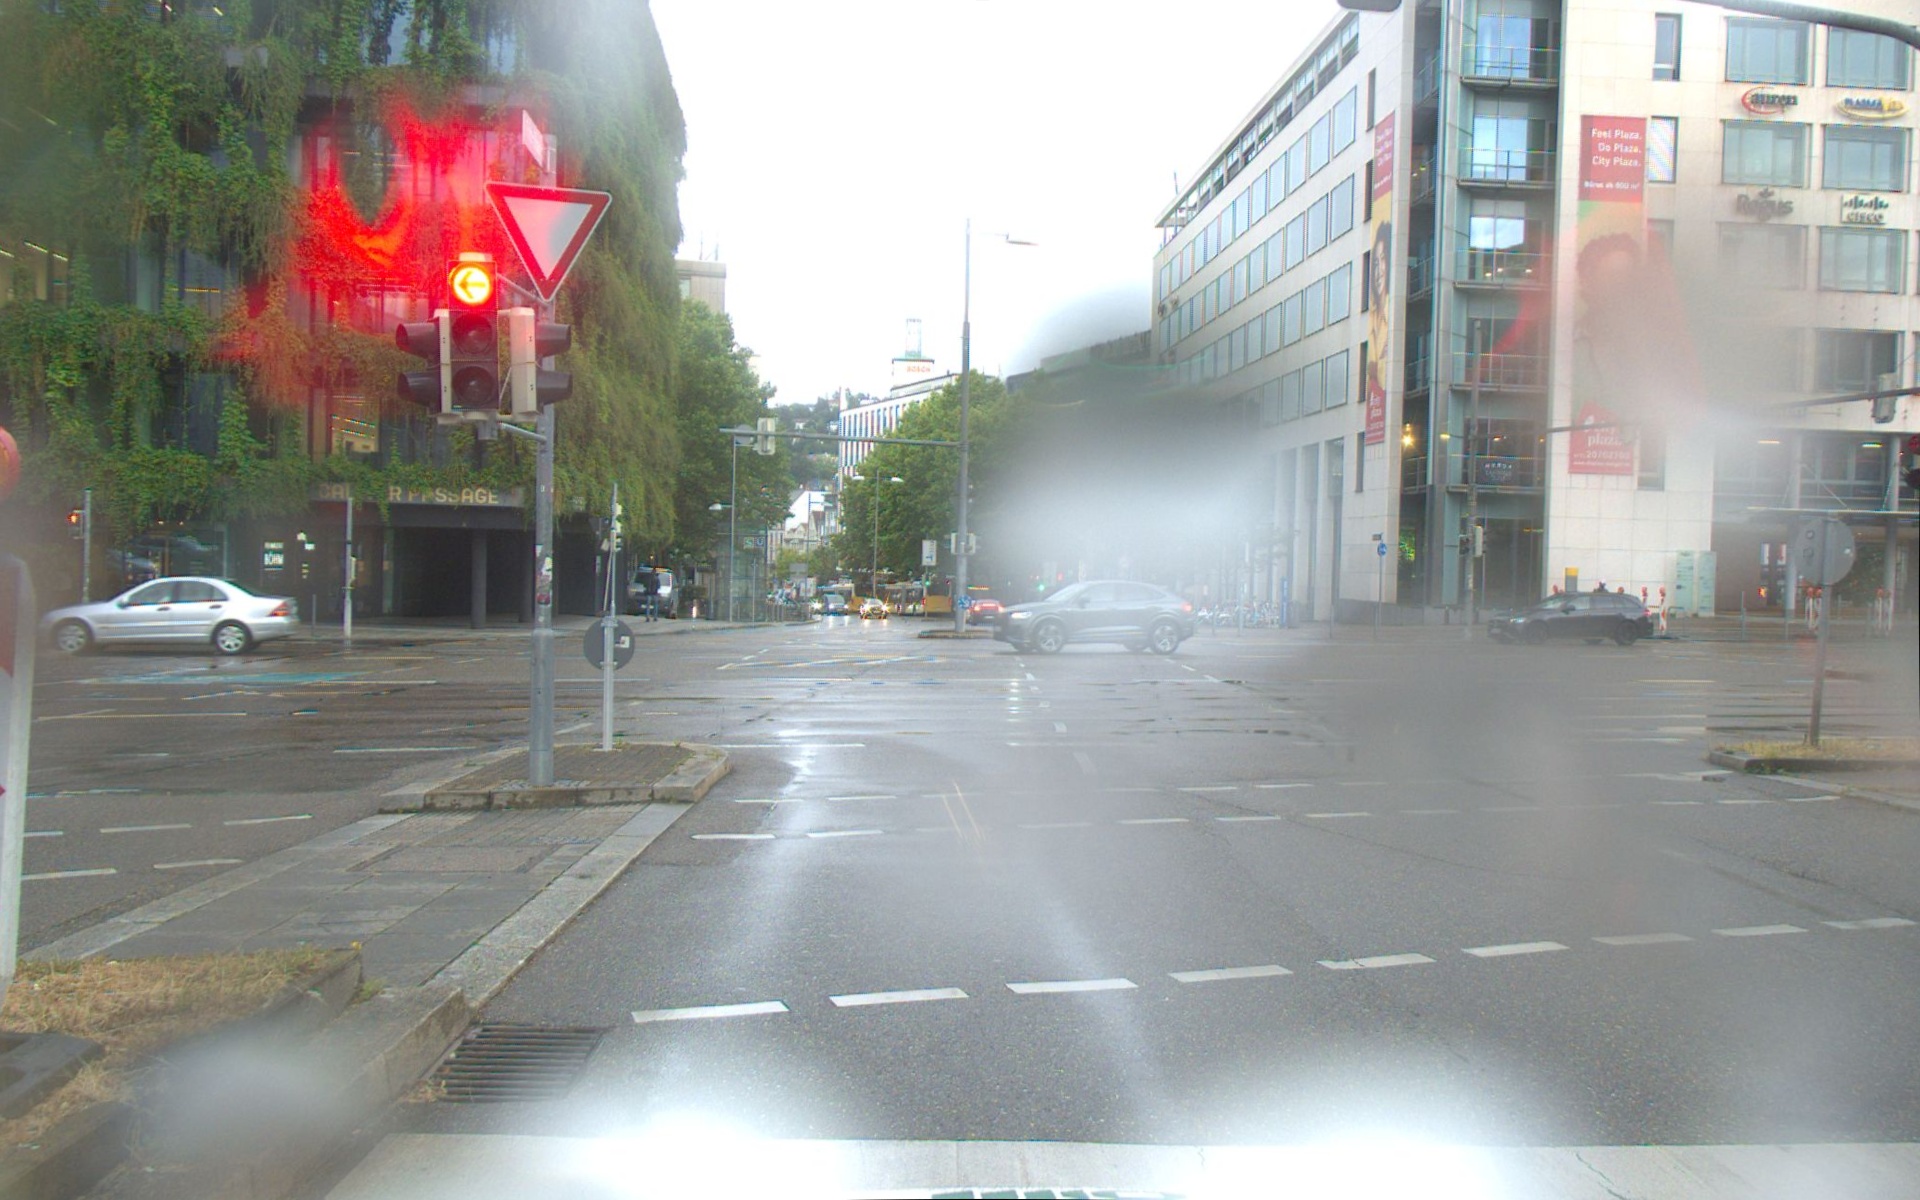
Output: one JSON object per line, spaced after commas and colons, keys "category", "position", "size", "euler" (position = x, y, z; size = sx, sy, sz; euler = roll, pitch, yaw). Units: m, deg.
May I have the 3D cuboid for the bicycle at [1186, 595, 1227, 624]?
{"category": "bicycle", "position": [10.864, 0.422, 72.923], "size": [1.741, 1.215, 0.586], "euler": [1, -1, 1]}

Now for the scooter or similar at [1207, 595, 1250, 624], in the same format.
{"category": "scooter or similar", "position": [11.549, 0.426, 71.142], "size": [1.741, 1.215, 0.586], "euler": [1, -1, 1]}

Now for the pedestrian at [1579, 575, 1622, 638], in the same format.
{"category": "pedestrian", "position": [19.313, 0.198, 49.890], "size": [0.942, 1.848, 0.836], "euler": [1, -1, -1]}

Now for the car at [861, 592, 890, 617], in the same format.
{"category": "car", "position": [-6.505, 0.351, 126.453], "size": [2.121, 1.796, 5.108], "euler": [1, 0, -4]}

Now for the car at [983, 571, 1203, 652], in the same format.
{"category": "car", "position": [2.867, 0.259, 35.845], "size": [4.402, 1.637, 1.823], "euler": [1, 0, -17]}

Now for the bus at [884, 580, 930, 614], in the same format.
{"category": "bus", "position": [-4.968, -0.285, 153.006], "size": [2.585, 3.048, 7.417], "euler": [0, 0, -16]}

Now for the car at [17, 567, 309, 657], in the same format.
{"category": "car", "position": [-14.876, 0.220, 31.160], "size": [4.641, 1.502, 1.993], "euler": [0, 4, -16]}

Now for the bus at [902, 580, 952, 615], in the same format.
{"category": "bus", "position": [-2.972, -0.249, 145.890], "size": [2.585, 3.048, 7.417], "euler": [0, 0, -16]}

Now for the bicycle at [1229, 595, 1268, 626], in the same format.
{"category": "bicycle", "position": [11.587, 0.408, 66.556], "size": [0.578, 1.215, 1.766], "euler": [1, 0, -28]}

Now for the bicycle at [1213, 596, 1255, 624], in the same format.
{"category": "bicycle", "position": [11.894, 0.435, 71.770], "size": [1.741, 1.215, 0.586], "euler": [1, -1, 1]}

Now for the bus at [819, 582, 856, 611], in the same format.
{"category": "bus", "position": [-13.343, -0.368, 180.121], "size": [2.585, 3.048, 7.417], "euler": [0, 0, -16]}

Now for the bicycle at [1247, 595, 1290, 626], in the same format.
{"category": "bicycle", "position": [12.124, 0.410, 65.012], "size": [1.590, 1.215, 0.586], "euler": [1, -1, 25]}

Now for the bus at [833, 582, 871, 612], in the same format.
{"category": "bus", "position": [-11.346, -0.314, 173.055], "size": [2.585, 3.048, 7.296], "euler": [0, 0, -16]}

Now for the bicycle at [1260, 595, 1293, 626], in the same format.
{"category": "bicycle", "position": [12.862, 0.432, 67.133], "size": [0.575, 1.215, 1.776], "euler": [1, -1, 37]}

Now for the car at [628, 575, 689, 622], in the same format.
{"category": "car", "position": [-12.387, -0.050, 68.131], "size": [1.832, 1.871, 3.999], "euler": [1, 0, -1]}

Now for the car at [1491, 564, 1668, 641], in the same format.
{"category": "car", "position": [17.374, 0.070, 46.424], "size": [4.573, 2.049, 1.544], "euler": [1, 0, -13]}

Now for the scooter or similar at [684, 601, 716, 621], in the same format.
{"category": "scooter or similar", "position": [-12.933, 0.541, 82.331], "size": [0.612, 1.022, 1.653], "euler": [1, 0, 37]}

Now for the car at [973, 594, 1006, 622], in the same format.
{"category": "car", "position": [1.698, 0.471, 95.057], "size": [1.745, 1.534, 3.999], "euler": [1, 0, -1]}

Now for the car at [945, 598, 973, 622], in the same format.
{"category": "car", "position": [-0.099, 0.644, 106.734], "size": [1.745, 1.534, 3.999], "euler": [1, 0, -1]}

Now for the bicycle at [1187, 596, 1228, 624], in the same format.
{"category": "bicycle", "position": [11.007, 0.427, 73.560], "size": [1.741, 1.215, 0.586], "euler": [1, -1, 1]}

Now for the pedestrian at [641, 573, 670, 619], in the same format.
{"category": "pedestrian", "position": [-11.215, -0.132, 60.919], "size": [0.915, 1.673, 0.774], "euler": [1, -1, -1]}

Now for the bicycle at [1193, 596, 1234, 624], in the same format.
{"category": "bicycle", "position": [11.424, 0.438, 74.484], "size": [1.741, 1.215, 0.586], "euler": [1, -1, 1]}

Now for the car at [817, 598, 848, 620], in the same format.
{"category": "car", "position": [-11.088, 0.772, 143.686], "size": [2.125, 1.796, 4.817], "euler": [-1, 0, -11]}

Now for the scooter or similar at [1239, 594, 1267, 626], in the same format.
{"category": "scooter or similar", "position": [11.388, 0.395, 64.316], "size": [0.946, 1.215, 0.453], "euler": [1, -1, 40]}
